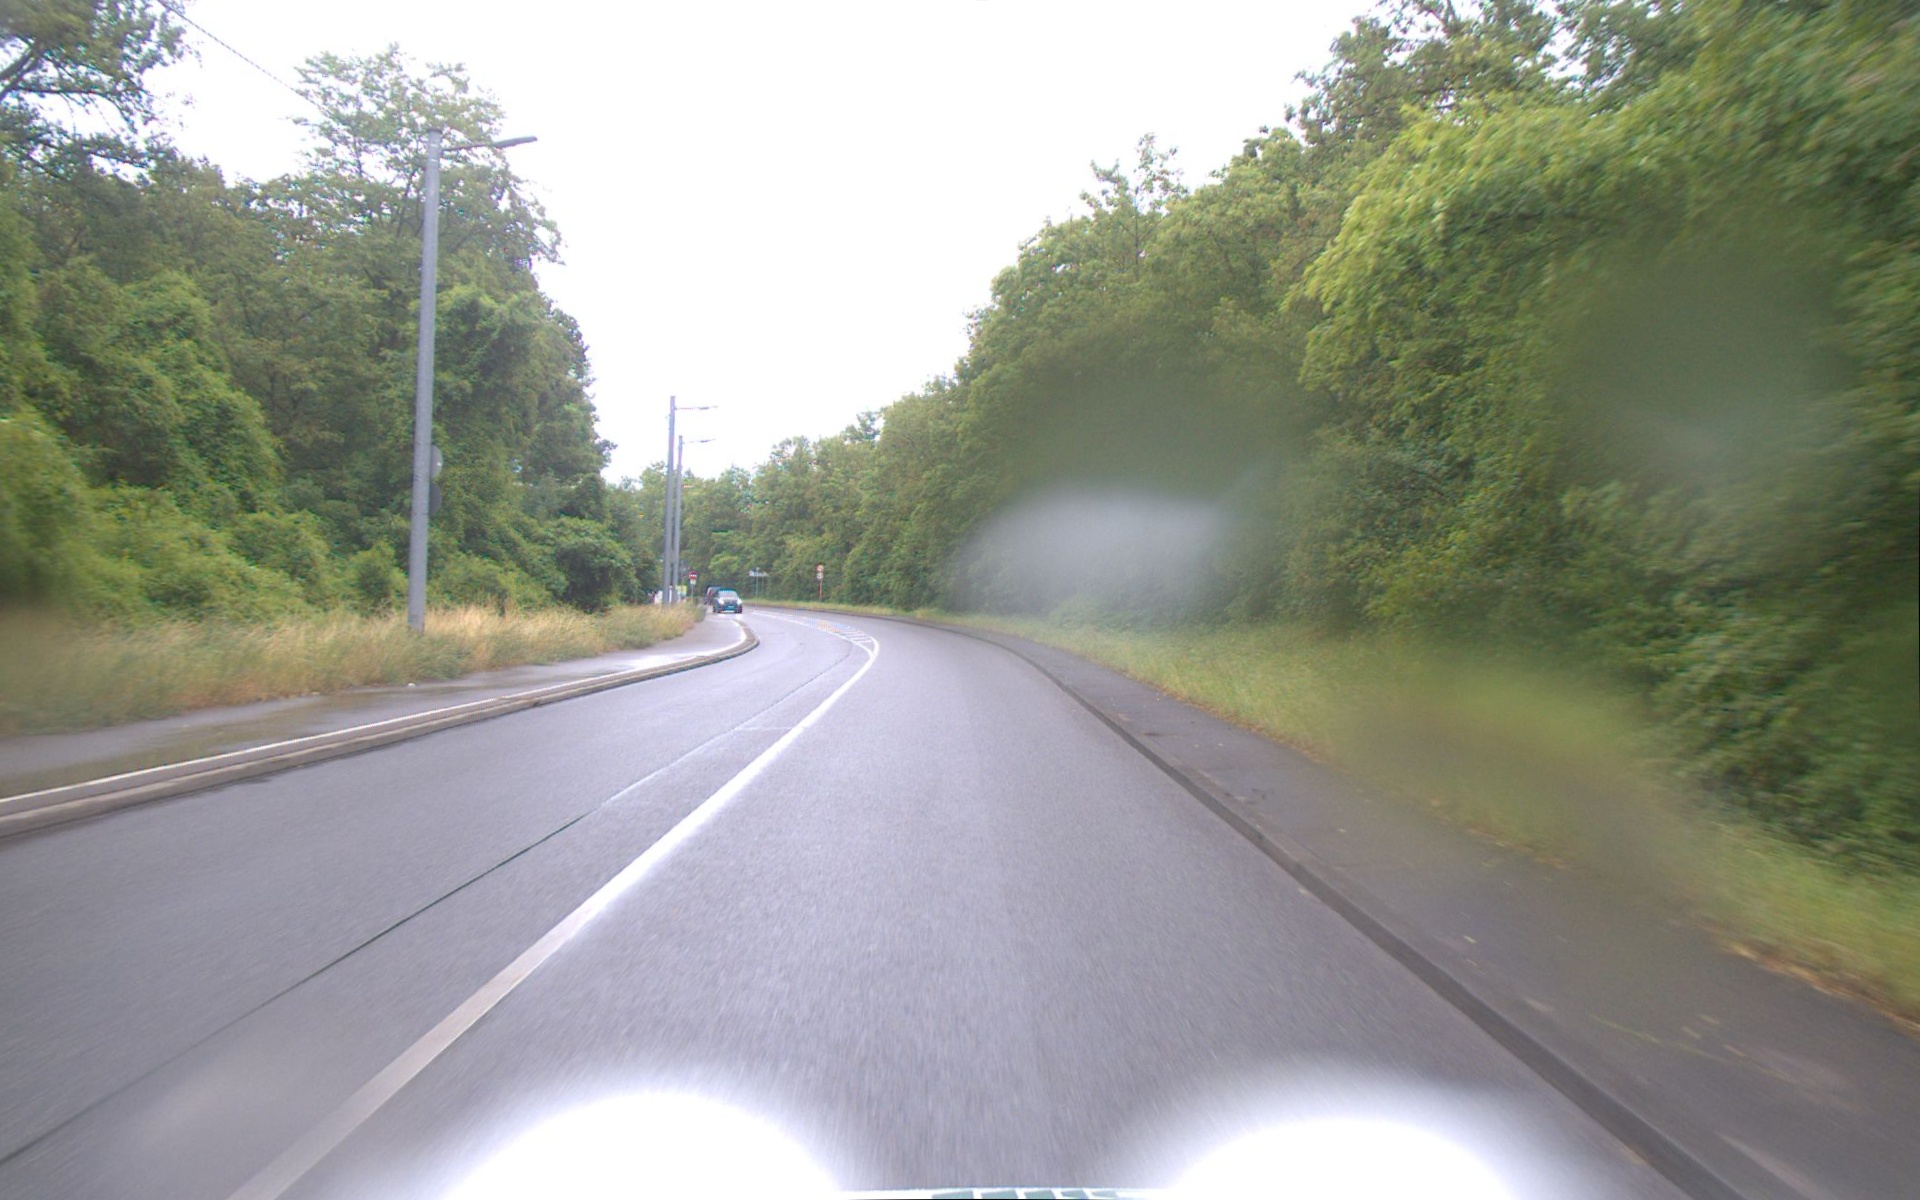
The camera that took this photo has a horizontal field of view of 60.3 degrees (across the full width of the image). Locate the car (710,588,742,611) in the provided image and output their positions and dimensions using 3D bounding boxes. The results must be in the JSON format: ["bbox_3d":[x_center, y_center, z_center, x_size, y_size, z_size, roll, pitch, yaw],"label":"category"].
[{"bbox_3d":[-18.677,-0.055,132.013,1.961,1.818,4.688,0,0,-15],"label":"car"}]
